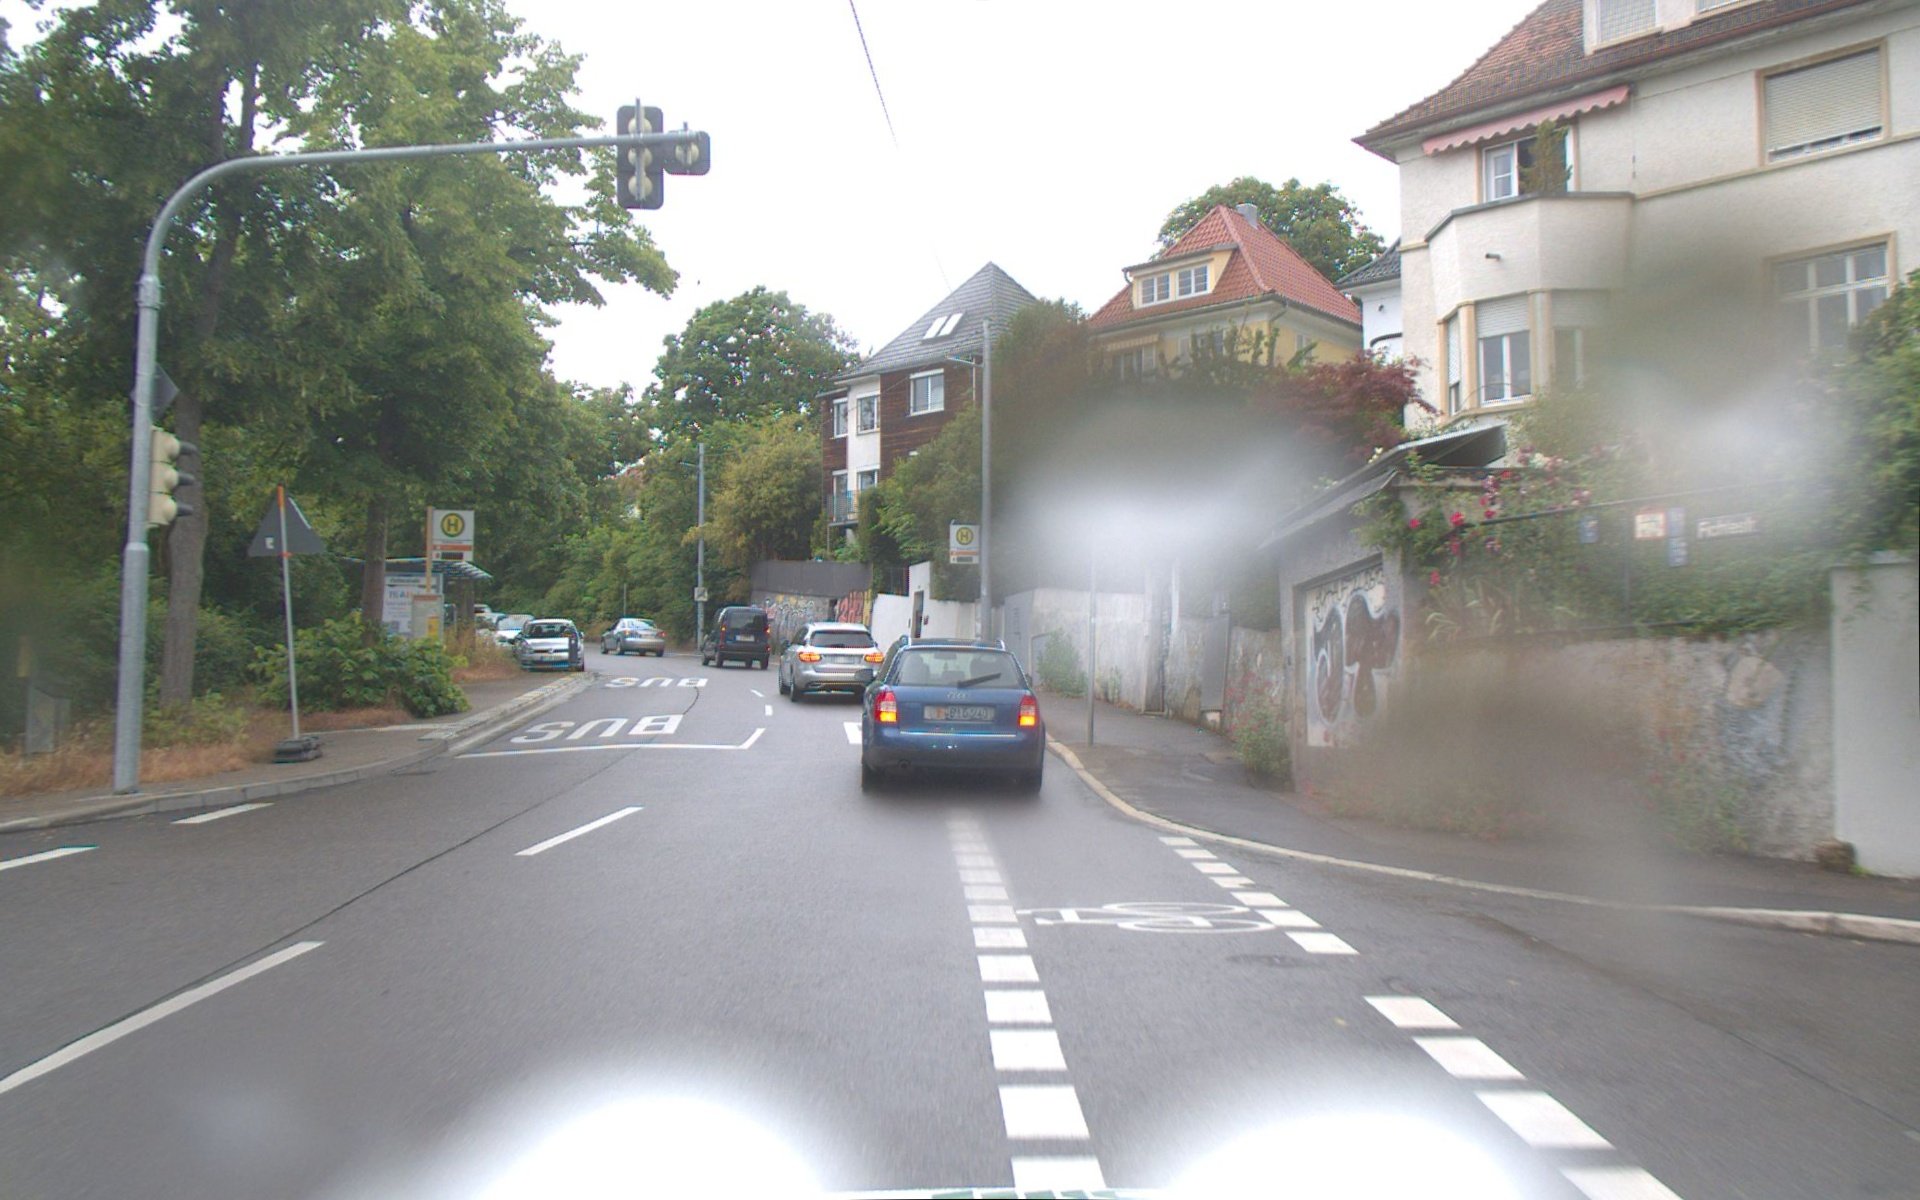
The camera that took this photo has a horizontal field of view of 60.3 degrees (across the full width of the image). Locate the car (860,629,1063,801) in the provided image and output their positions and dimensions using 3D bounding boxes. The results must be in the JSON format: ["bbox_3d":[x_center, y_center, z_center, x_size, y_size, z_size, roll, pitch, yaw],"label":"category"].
[{"bbox_3d":[-0.035,1.054,16.507,1.741,1.464,3.998,1,-1,-2],"label":"car"}]

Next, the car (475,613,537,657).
[{"bbox_3d":[-16.960,1.282,61.710,1.652,1.579,3.872,-1,0,-24],"label":"car"}]

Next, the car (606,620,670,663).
[{"bbox_3d":[-12.592,1.597,64.523,1.742,1.597,4.003,-1,0,-22],"label":"car"}]

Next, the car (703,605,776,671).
[{"bbox_3d":[-6.883,1.149,51.330,1.702,1.927,4.038,-1,0,-16],"label":"car"}]

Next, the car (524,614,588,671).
[{"bbox_3d":[-11.170,1.136,45.818,1.645,1.452,3.986,-1,0,-14],"label":"car"}]

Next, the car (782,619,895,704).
[{"bbox_3d":[-2.439,1.146,32.225,1.873,1.412,4.342,3,-1,-8],"label":"car"}]

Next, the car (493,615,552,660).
[{"bbox_3d":[-15.030,1.256,56.718,1.649,1.452,3.977,-1,0,-19],"label":"car"}]
